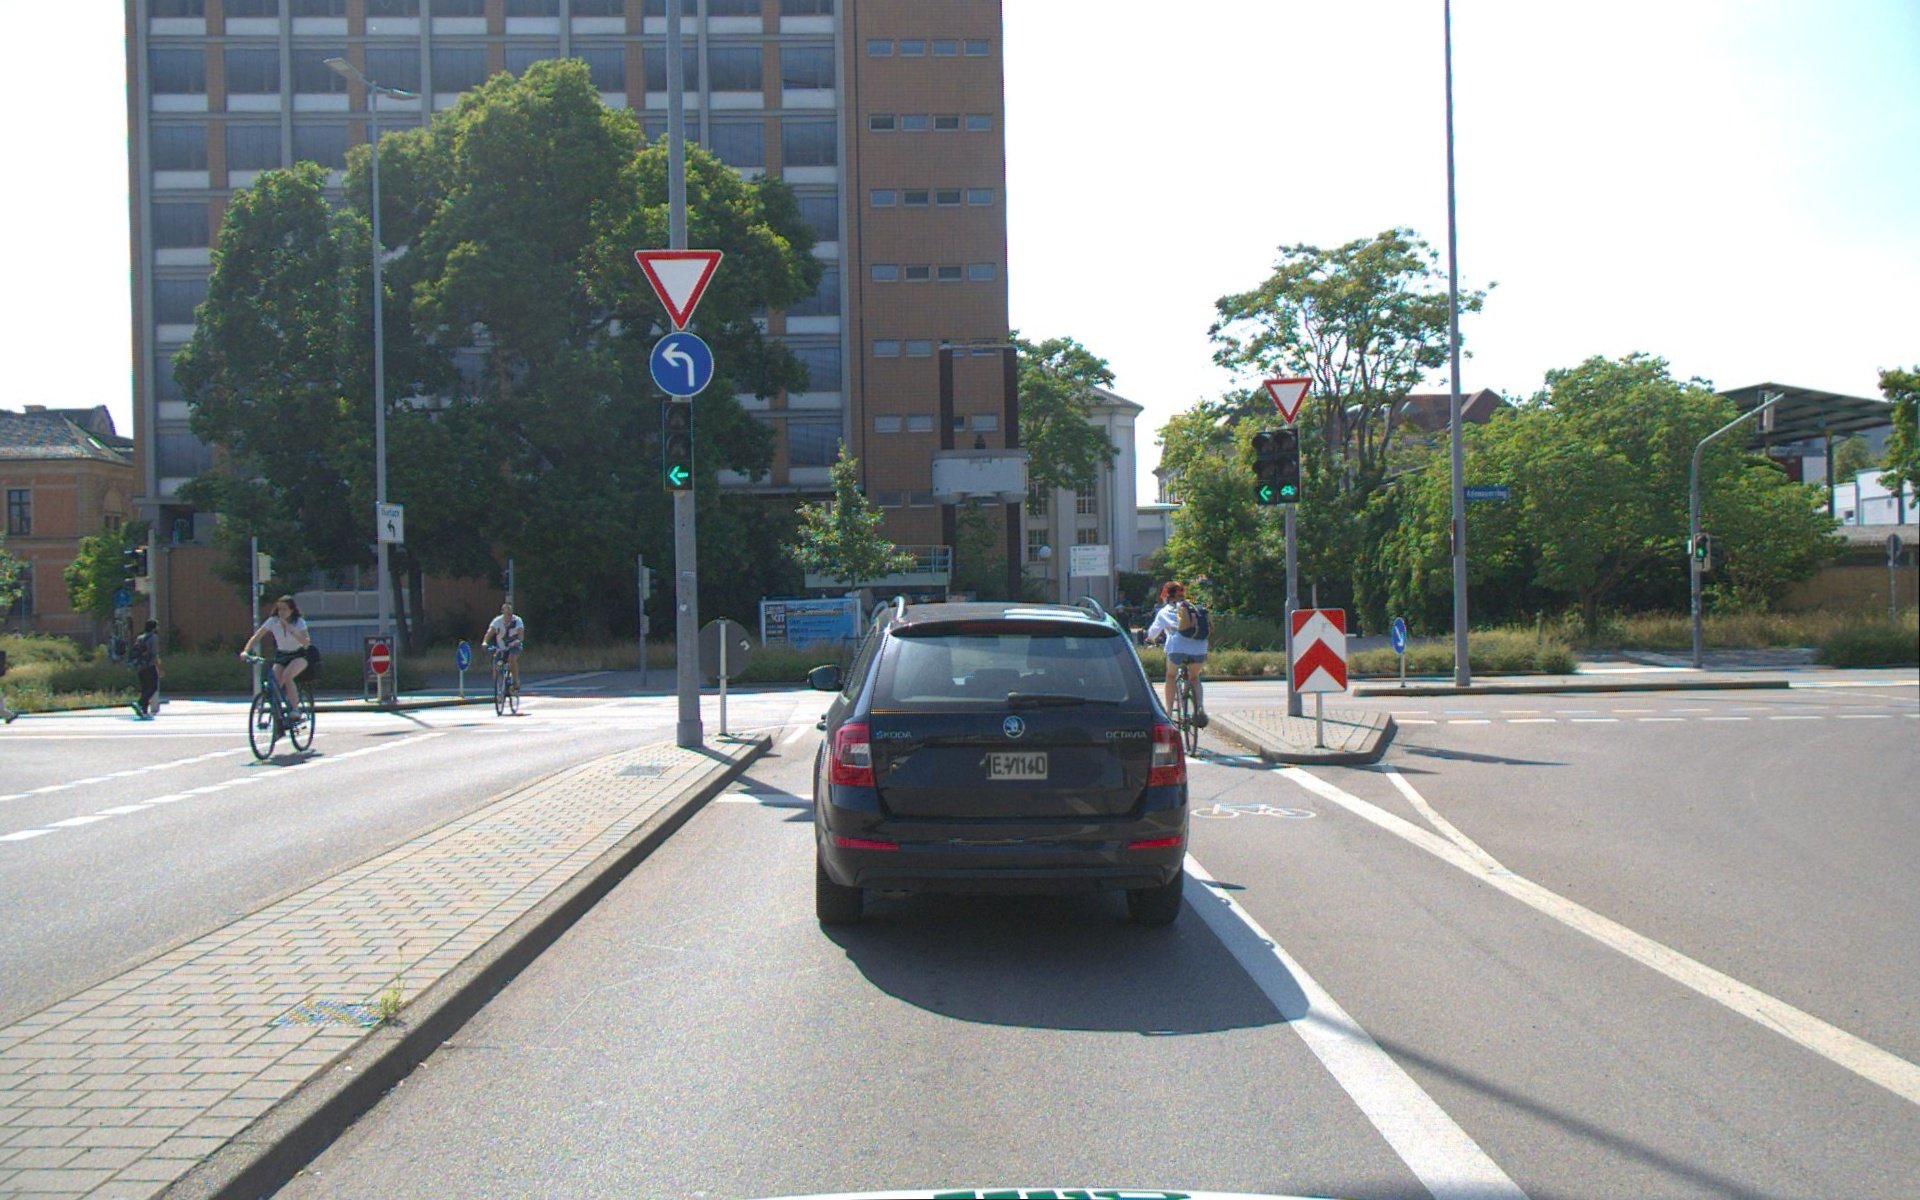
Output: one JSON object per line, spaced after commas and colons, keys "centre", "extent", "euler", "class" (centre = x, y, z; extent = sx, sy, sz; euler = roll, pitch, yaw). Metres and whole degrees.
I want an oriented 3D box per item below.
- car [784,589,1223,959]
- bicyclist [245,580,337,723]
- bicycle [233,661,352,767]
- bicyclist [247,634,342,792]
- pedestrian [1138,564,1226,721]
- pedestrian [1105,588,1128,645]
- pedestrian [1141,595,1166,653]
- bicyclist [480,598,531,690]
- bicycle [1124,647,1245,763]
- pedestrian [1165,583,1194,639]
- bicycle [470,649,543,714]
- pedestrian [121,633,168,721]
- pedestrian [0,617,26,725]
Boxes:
{"centre": [0.163, 0.698, 8.501], "extent": [1.743, 1.468, 3.817], "euler": [0, 0, 0], "class": "car"}
{"centre": [-7.260, 0.547, 17.978], "extent": [0.606, 1.468, 0.919], "euler": [-4, 0, -6], "class": "bicyclist"}
{"centre": [-7.218, 1.204, 17.975], "extent": [0.606, 0.977, 1.965], "euler": [-4, 0, -5], "class": "bicycle"}
{"centre": [-7.218, 1.204, 17.975], "extent": [0.606, 1.609, 1.012], "euler": [-4, 0, -6], "class": "bicyclist"}
{"centre": [2.168, 0.404, 16.219], "extent": [0.572, 1.492, 1.011], "euler": [0, -1, -10], "class": "pedestrian"}
{"centre": [5.328, 0.567, 56.291], "extent": [0.584, 1.907, 0.639], "euler": [-2, 0, 22], "class": "pedestrian"}
{"centre": [6.439, 0.796, 55.060], "extent": [0.624, 1.907, 0.796], "euler": [-3, 0, -1], "class": "pedestrian"}
{"centre": [-7.340, 0.711, 26.752], "extent": [0.528, 1.441, 1.029], "euler": [-2, -1, -3], "class": "bicyclist"}
{"centre": [2.167, 0.991, 16.242], "extent": [0.585, 0.947, 2.024], "euler": [0, 2, -10], "class": "bicycle"}
{"centre": [7.749, 0.382, 58.472], "extent": [0.778, 1.907, 0.638], "euler": [-3, 0, 24], "class": "pedestrian"}
{"centre": [-7.340, 1.306, 26.845], "extent": [0.690, 0.994, 2.029], "euler": [-2, -2, -3], "class": "bicycle"}
{"centre": [-14.422, 1.355, 29.266], "extent": [0.621, 1.518, 0.614], "euler": [-2, 0, -17], "class": "pedestrian"}
{"centre": [-16.340, 1.216, 27.934], "extent": [0.724, 1.783, 1.105], "euler": [-2, -2, -17], "class": "pedestrian"}
